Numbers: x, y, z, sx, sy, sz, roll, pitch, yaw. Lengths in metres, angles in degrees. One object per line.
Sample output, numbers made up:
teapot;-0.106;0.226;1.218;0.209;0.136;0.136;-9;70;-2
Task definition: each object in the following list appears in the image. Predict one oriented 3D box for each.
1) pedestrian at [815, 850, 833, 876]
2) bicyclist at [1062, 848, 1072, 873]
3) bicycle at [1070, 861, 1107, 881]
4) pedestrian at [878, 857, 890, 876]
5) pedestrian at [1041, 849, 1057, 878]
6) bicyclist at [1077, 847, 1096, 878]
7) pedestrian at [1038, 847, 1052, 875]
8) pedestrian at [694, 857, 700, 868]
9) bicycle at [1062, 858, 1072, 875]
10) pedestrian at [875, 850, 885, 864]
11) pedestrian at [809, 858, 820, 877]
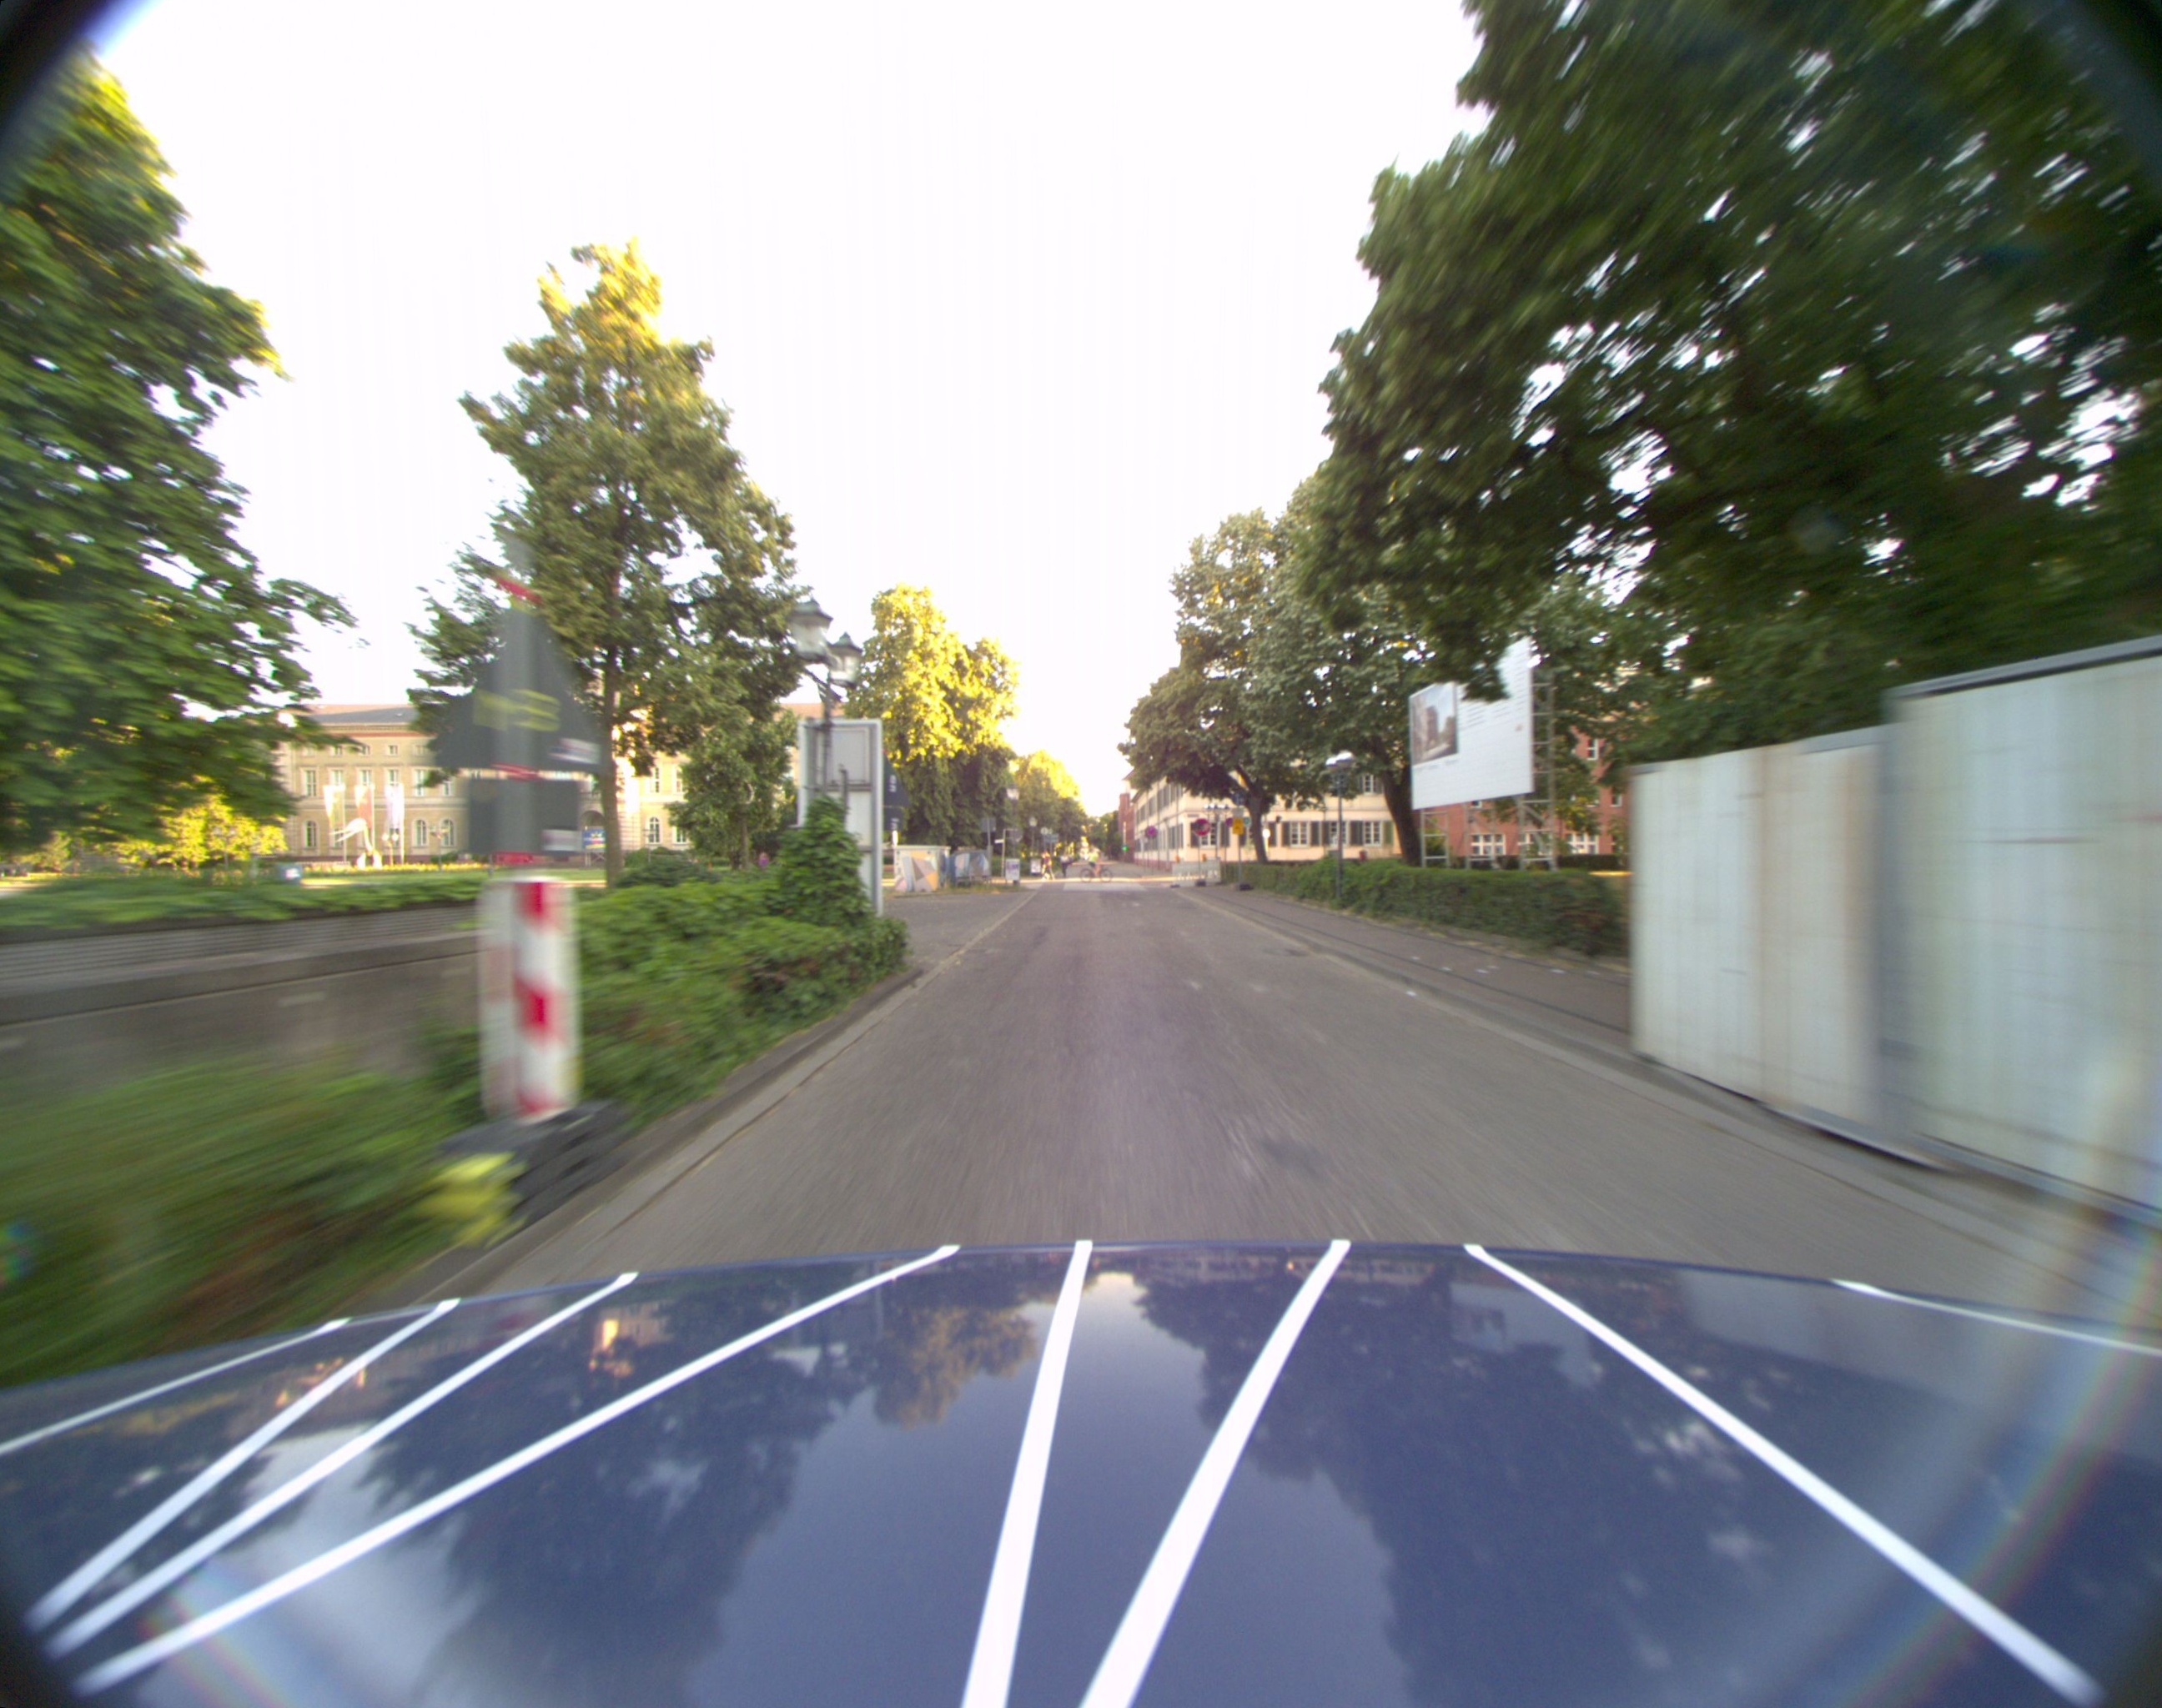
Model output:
pedestrian;-15.821;0.548;46.766;0.859;1.616;0.757;0;1;-5
bicyclist;-1.022;0.489;55.244;0.673;1.793;1.060;-1;0;-2
bicycle;0.370;0.880;39.296;1.900;1.033;0.581;0;1;-2
pedestrian;-12.676;0.821;48.939;0.608;1.197;0.666;-1;1;-5
pedestrian;-1.942;0.582;46.427;0.941;1.777;0.762;0;1;-2
bicyclist;0.276;0.445;39.285;0.968;1.611;0.594;-1;1;-2
pedestrian;-2.249;0.455;47.376;0.859;1.730;0.649;0;1;-2
pedestrian;-44.244;1.015;87.550;0.500;1.281;0.592;-1;1;-5
bicycle;-1.014;0.908;55.243;0.653;1.175;2.344;0;0;-2
pedestrian;-20.305;0.295;76.882;0.754;1.435;0.816;-1;1;-34
pedestrian;-16.983;0.853;48.393;0.500;1.207;0.592;-1;1;-5
